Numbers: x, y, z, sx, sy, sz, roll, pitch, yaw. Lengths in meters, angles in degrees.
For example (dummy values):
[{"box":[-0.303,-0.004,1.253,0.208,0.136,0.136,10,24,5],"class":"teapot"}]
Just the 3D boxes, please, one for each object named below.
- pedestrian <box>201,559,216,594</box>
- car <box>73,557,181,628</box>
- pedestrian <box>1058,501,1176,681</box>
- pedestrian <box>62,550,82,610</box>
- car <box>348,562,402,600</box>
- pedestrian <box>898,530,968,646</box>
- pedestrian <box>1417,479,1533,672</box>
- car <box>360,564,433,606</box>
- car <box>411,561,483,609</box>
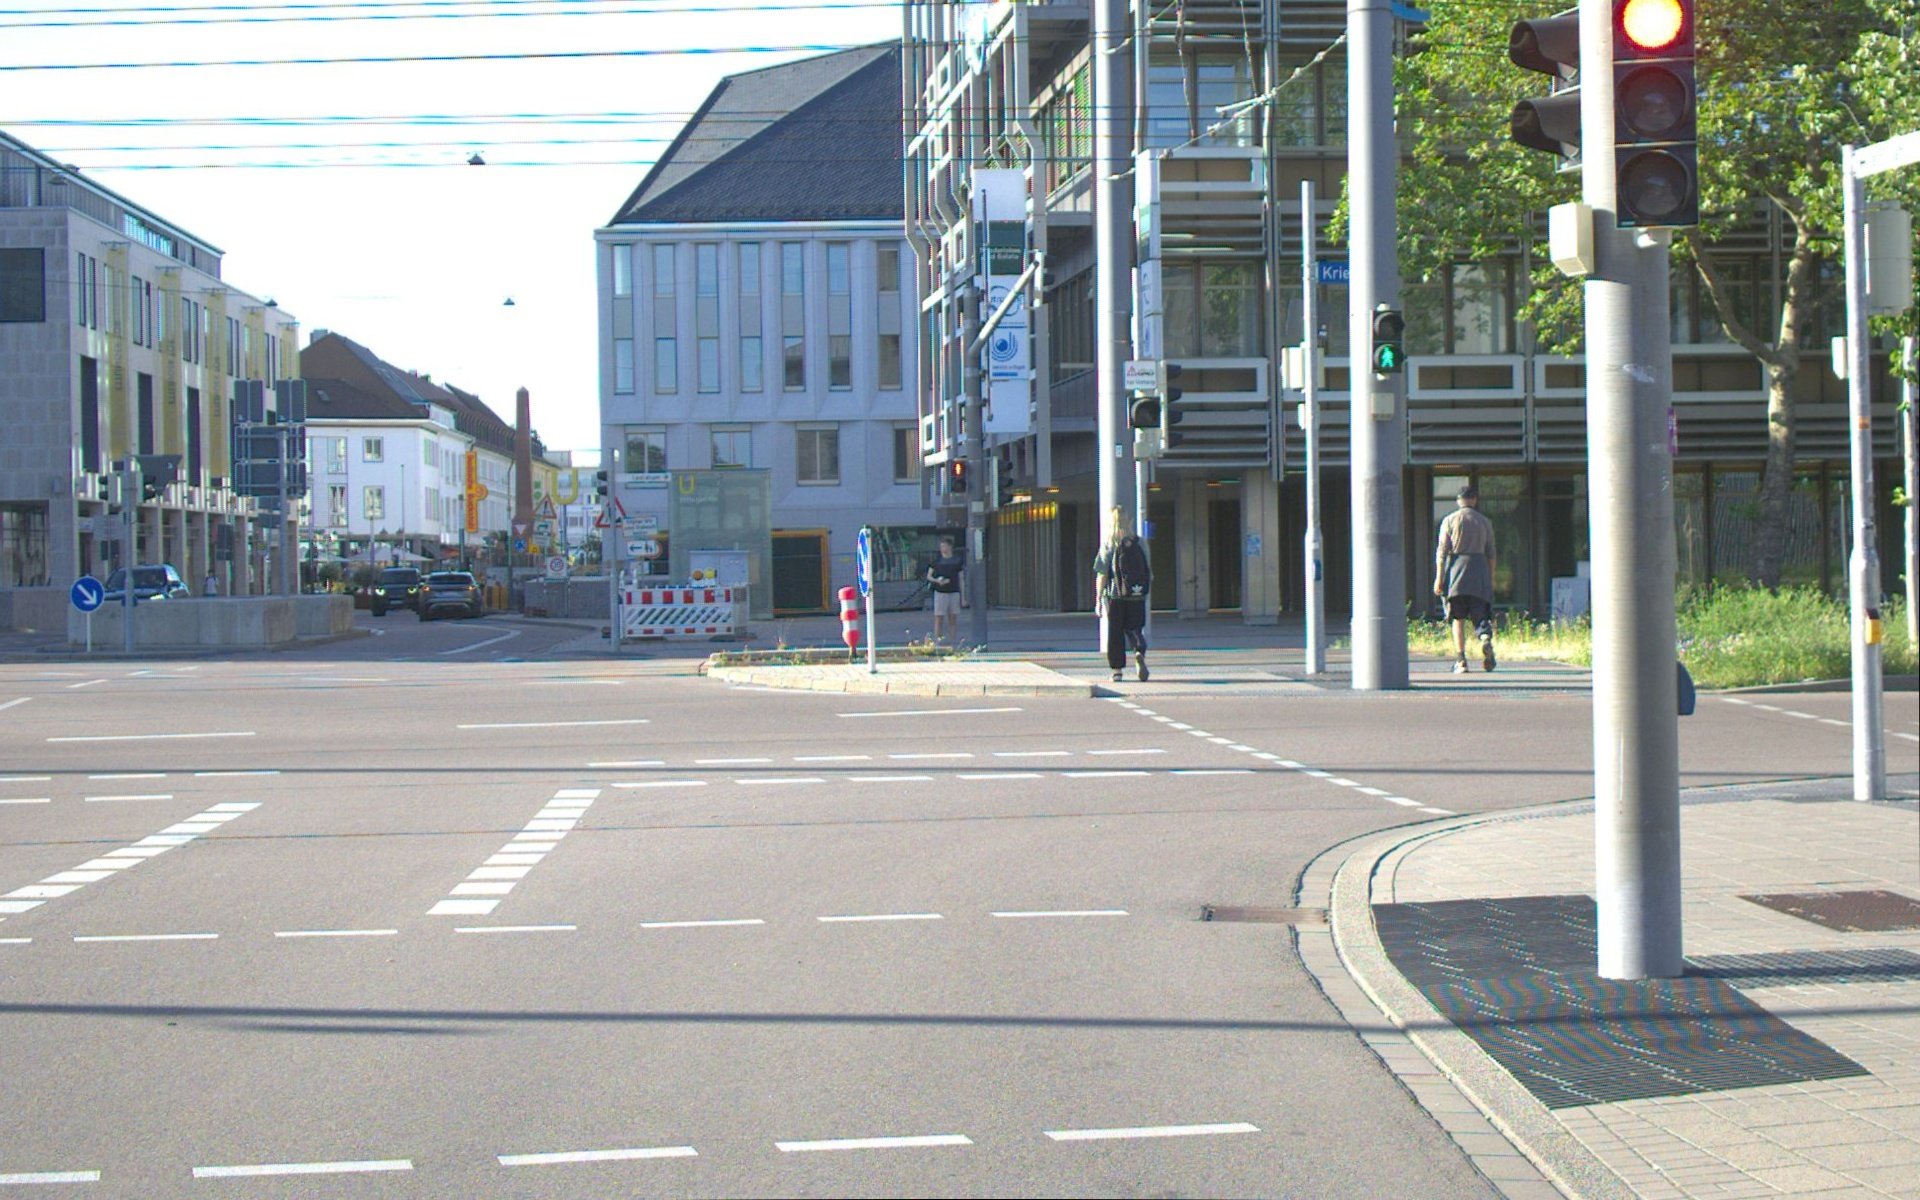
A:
[{"box":[-29.203,-0.919,133.531,0.488,1.352,0.564,1,0,-6],"class":"pedestrian"},{"box":[-20.274,-0.196,83.817,1.937,1.672,4.295,-1,1,-5],"class":"car"},{"box":[1.381,-0.094,30.422,0.895,1.544,0.924,-1,2,-7],"class":"pedestrian"},{"box":[-30.090,-0.678,116.462,0.616,2.007,0.478,1,0,-15],"class":"pedestrian"},{"box":[-29.420,-0.953,172.919,2.174,1.866,5.616,-1,0,-4],"class":"car"},{"box":[-0.439,-0.214,57.235,1.012,1.904,1.050,0,1,7],"class":"pedestrian"},{"box":[4.701,-0.232,31.437,0.855,1.738,0.739,-1,1,-8],"class":"pedestrian"},{"box":[-22.906,-0.607,139.960,2.174,1.686,5.487,-1,0,-1],"class":"car"},{"box":[-16.142,-0.472,108.346,1.936,1.445,4.263,-1,0,-4],"class":"car"}]
